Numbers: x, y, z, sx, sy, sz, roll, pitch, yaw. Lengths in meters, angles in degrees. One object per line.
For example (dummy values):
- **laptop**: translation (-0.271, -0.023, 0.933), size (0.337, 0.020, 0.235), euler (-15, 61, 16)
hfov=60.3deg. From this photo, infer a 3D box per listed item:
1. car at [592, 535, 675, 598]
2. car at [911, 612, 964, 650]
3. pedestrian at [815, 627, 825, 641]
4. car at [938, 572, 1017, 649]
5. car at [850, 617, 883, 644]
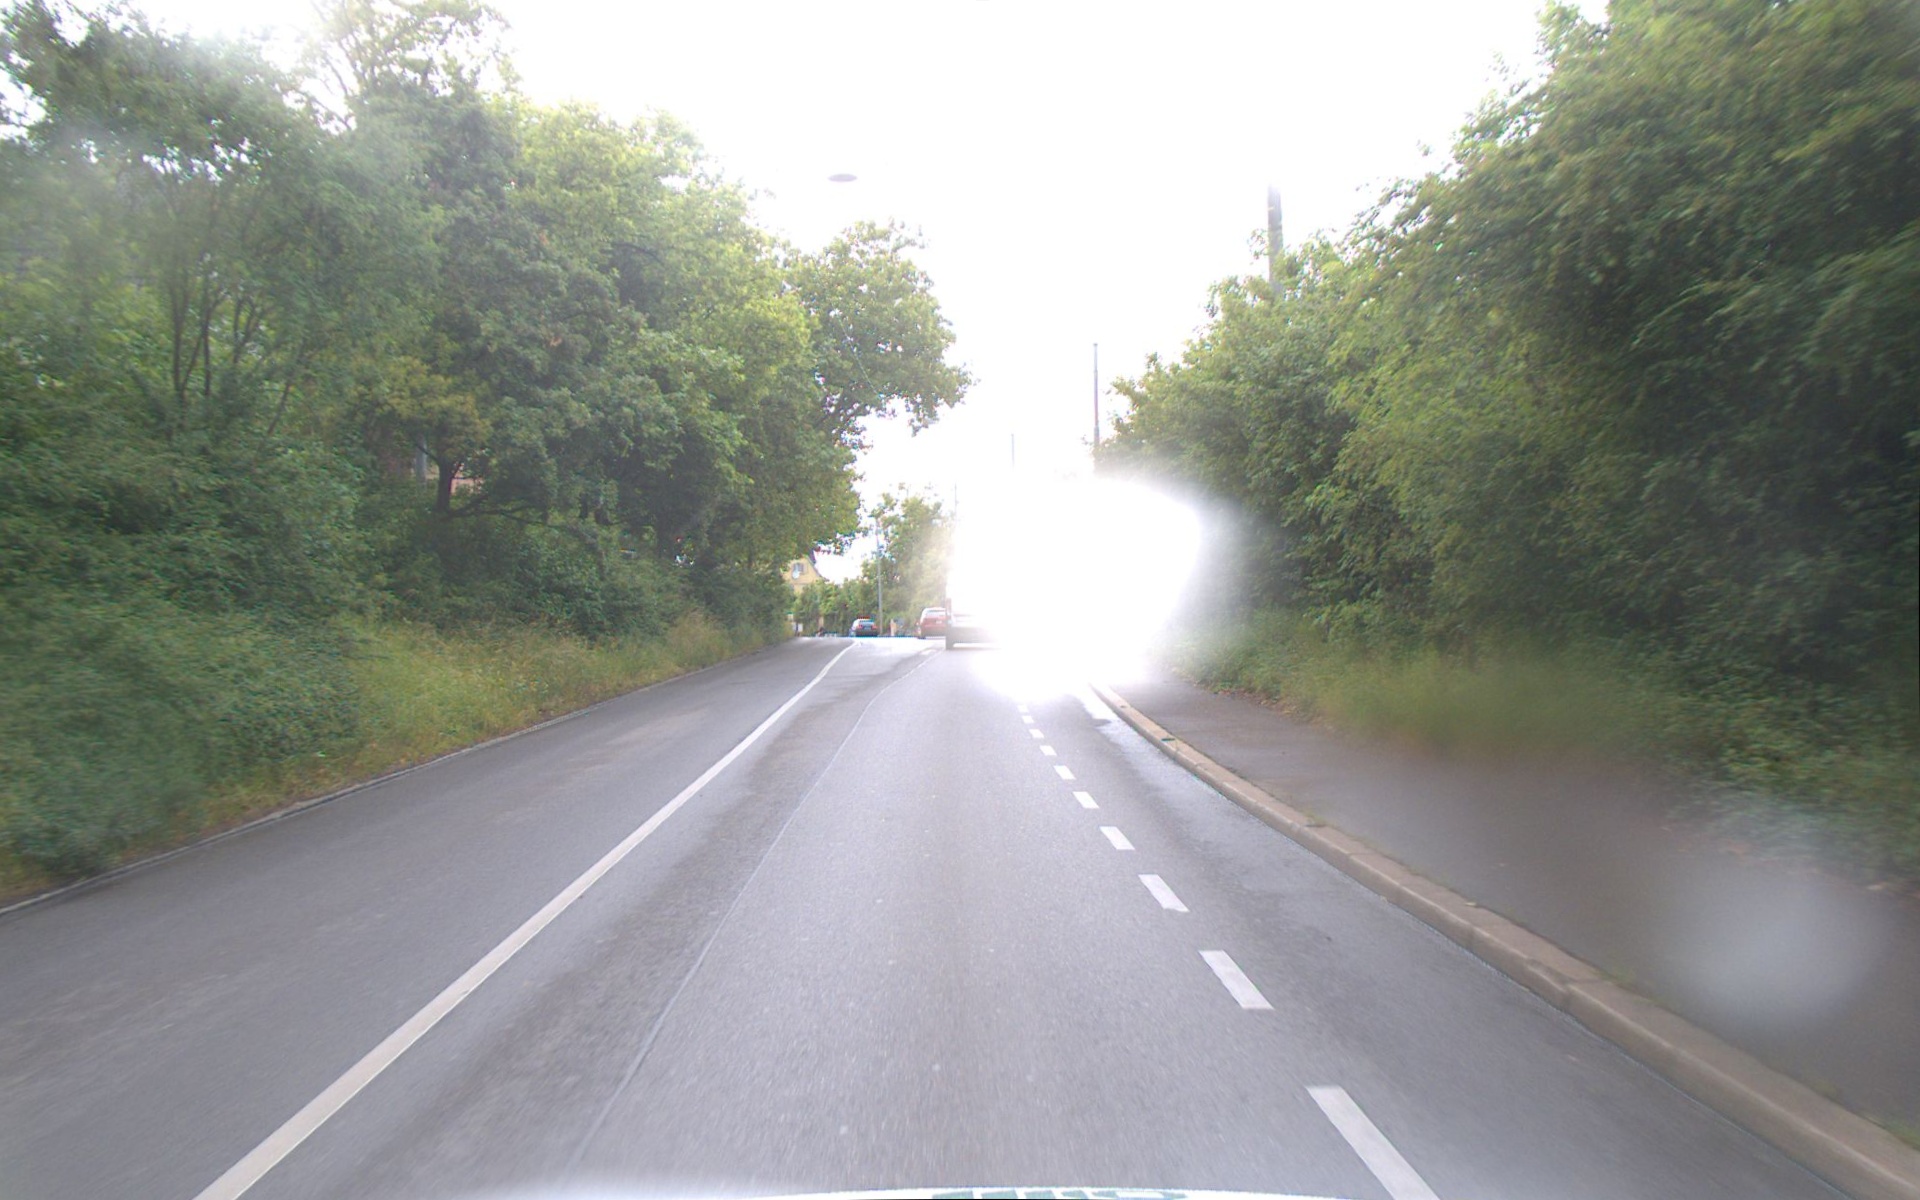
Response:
- **car**: translation (-11.316, -1.121, 57.631), size (1.953, 2.049, 4.627), euler (1, 0, 0)
- **car**: translation (-1.098, 1.419, 77.612), size (2.194, 1.686, 4.709), euler (1, 0, -5)
- **pedestrian**: translation (-13.897, 3.407, 164.530), size (0.863, 1.391, 1.062), euler (1, 0, -13)
- **car**: translation (0.479, 0.315, 50.738), size (2.192, 2.252, 4.711), euler (1, 0, -2)
- **car**: translation (-6.787, 2.226, 120.661), size (2.192, 1.836, 4.712), euler (1, 0, -1)
